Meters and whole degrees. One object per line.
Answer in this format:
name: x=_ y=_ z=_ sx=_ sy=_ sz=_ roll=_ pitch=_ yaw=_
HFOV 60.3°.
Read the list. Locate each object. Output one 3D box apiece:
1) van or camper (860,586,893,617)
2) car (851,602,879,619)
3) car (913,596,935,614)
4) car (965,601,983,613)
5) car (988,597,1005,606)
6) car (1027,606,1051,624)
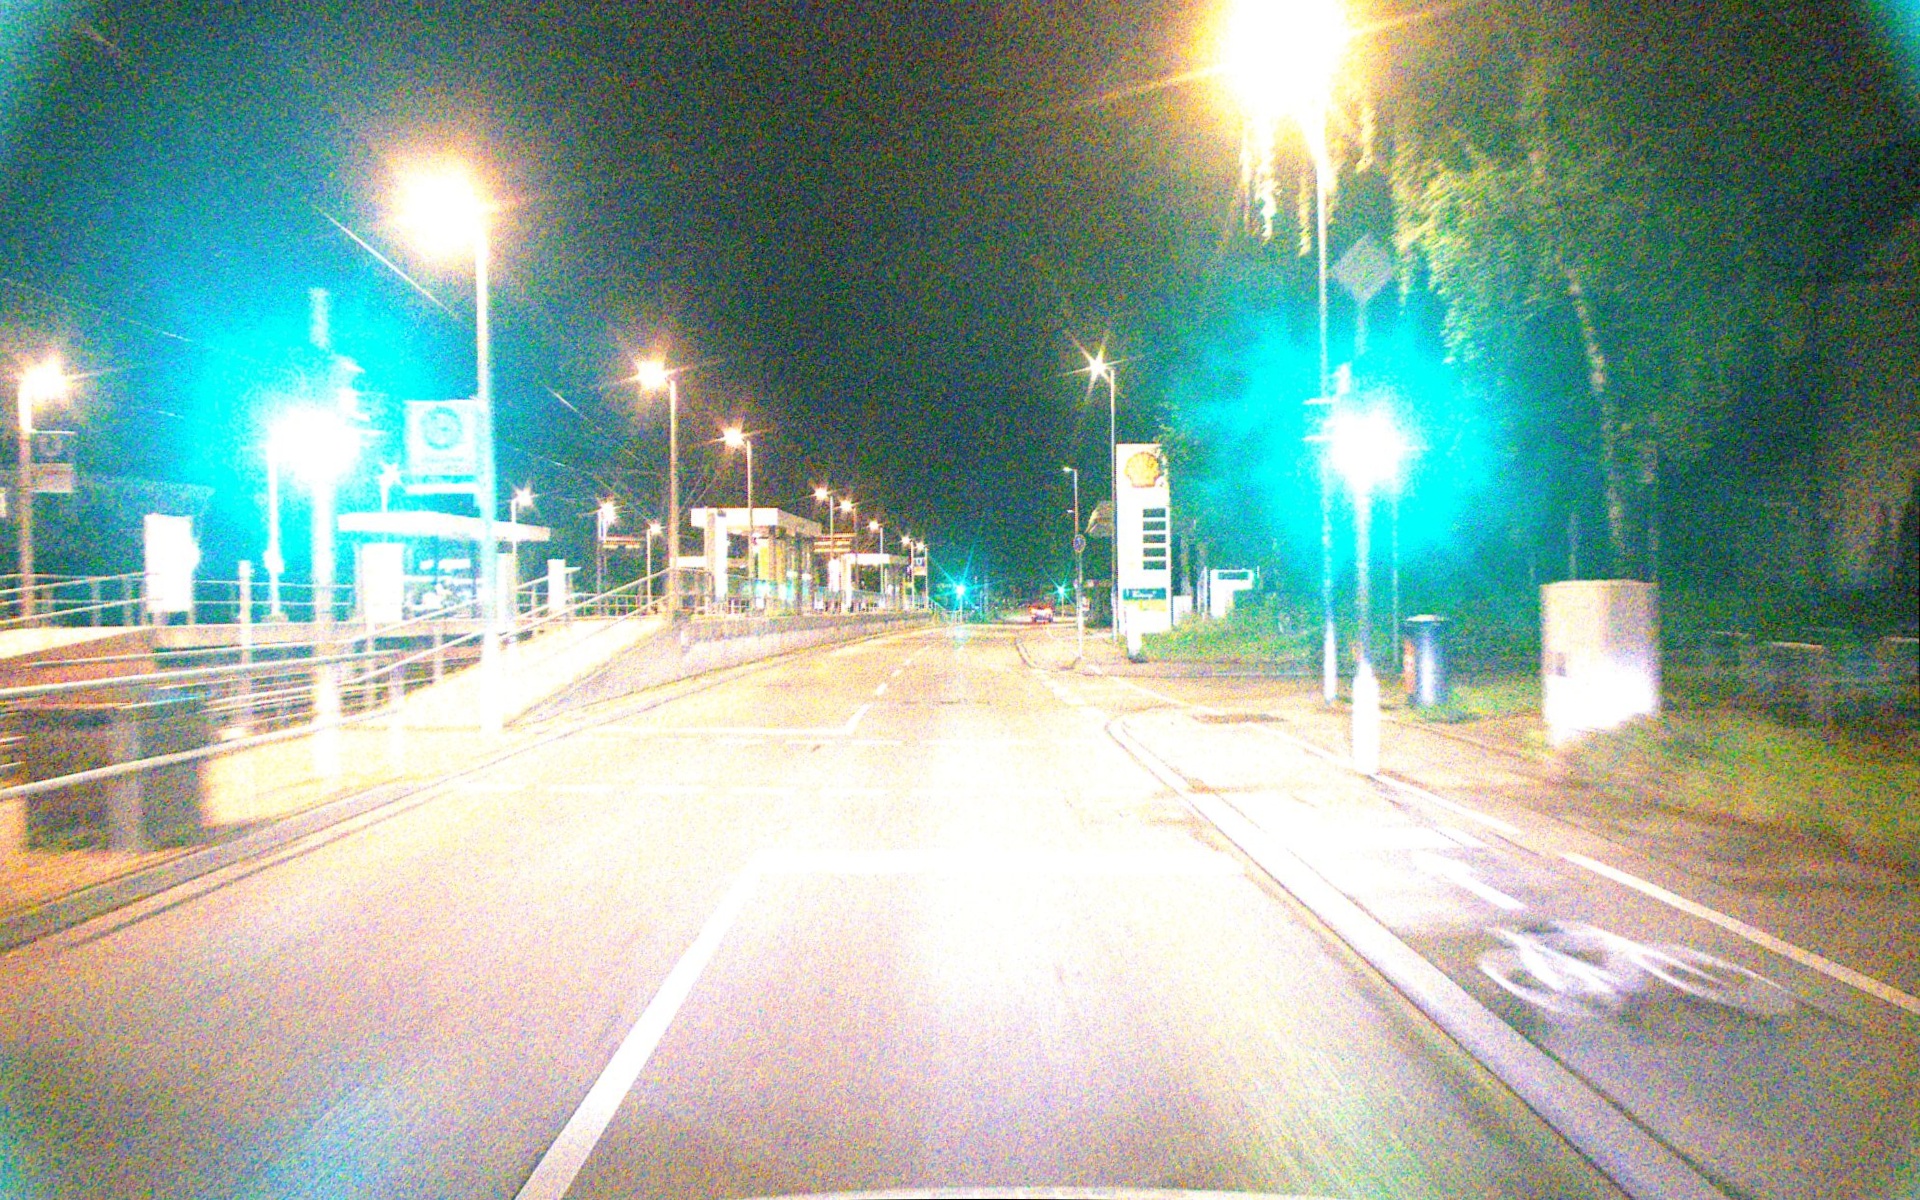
van or camper: x=-7.752 y=0.155 z=154.143 sx=2.225 sy=2.693 sz=5.667 roll=-3 pitch=0 yaw=4
car: x=-8.444 y=0.926 z=147.740 sx=1.611 sy=1.362 sz=4.546 roll=-5 pitch=0 yaw=7
car: x=-3.923 y=0.585 z=180.961 sx=1.818 sy=1.937 sz=4.883 roll=0 pitch=0 yaw=5
car: x=1.974 y=0.937 z=229.079 sx=1.951 sy=1.656 sz=4.681 roll=0 pitch=0 yaw=8
car: x=5.441 y=0.222 z=248.472 sx=1.951 sy=1.361 sz=5.436 roll=0 pitch=0 yaw=8
car: x=7.284 y=1.348 z=151.820 sx=2.116 sy=1.610 sz=4.015 roll=0 pitch=0 yaw=3
